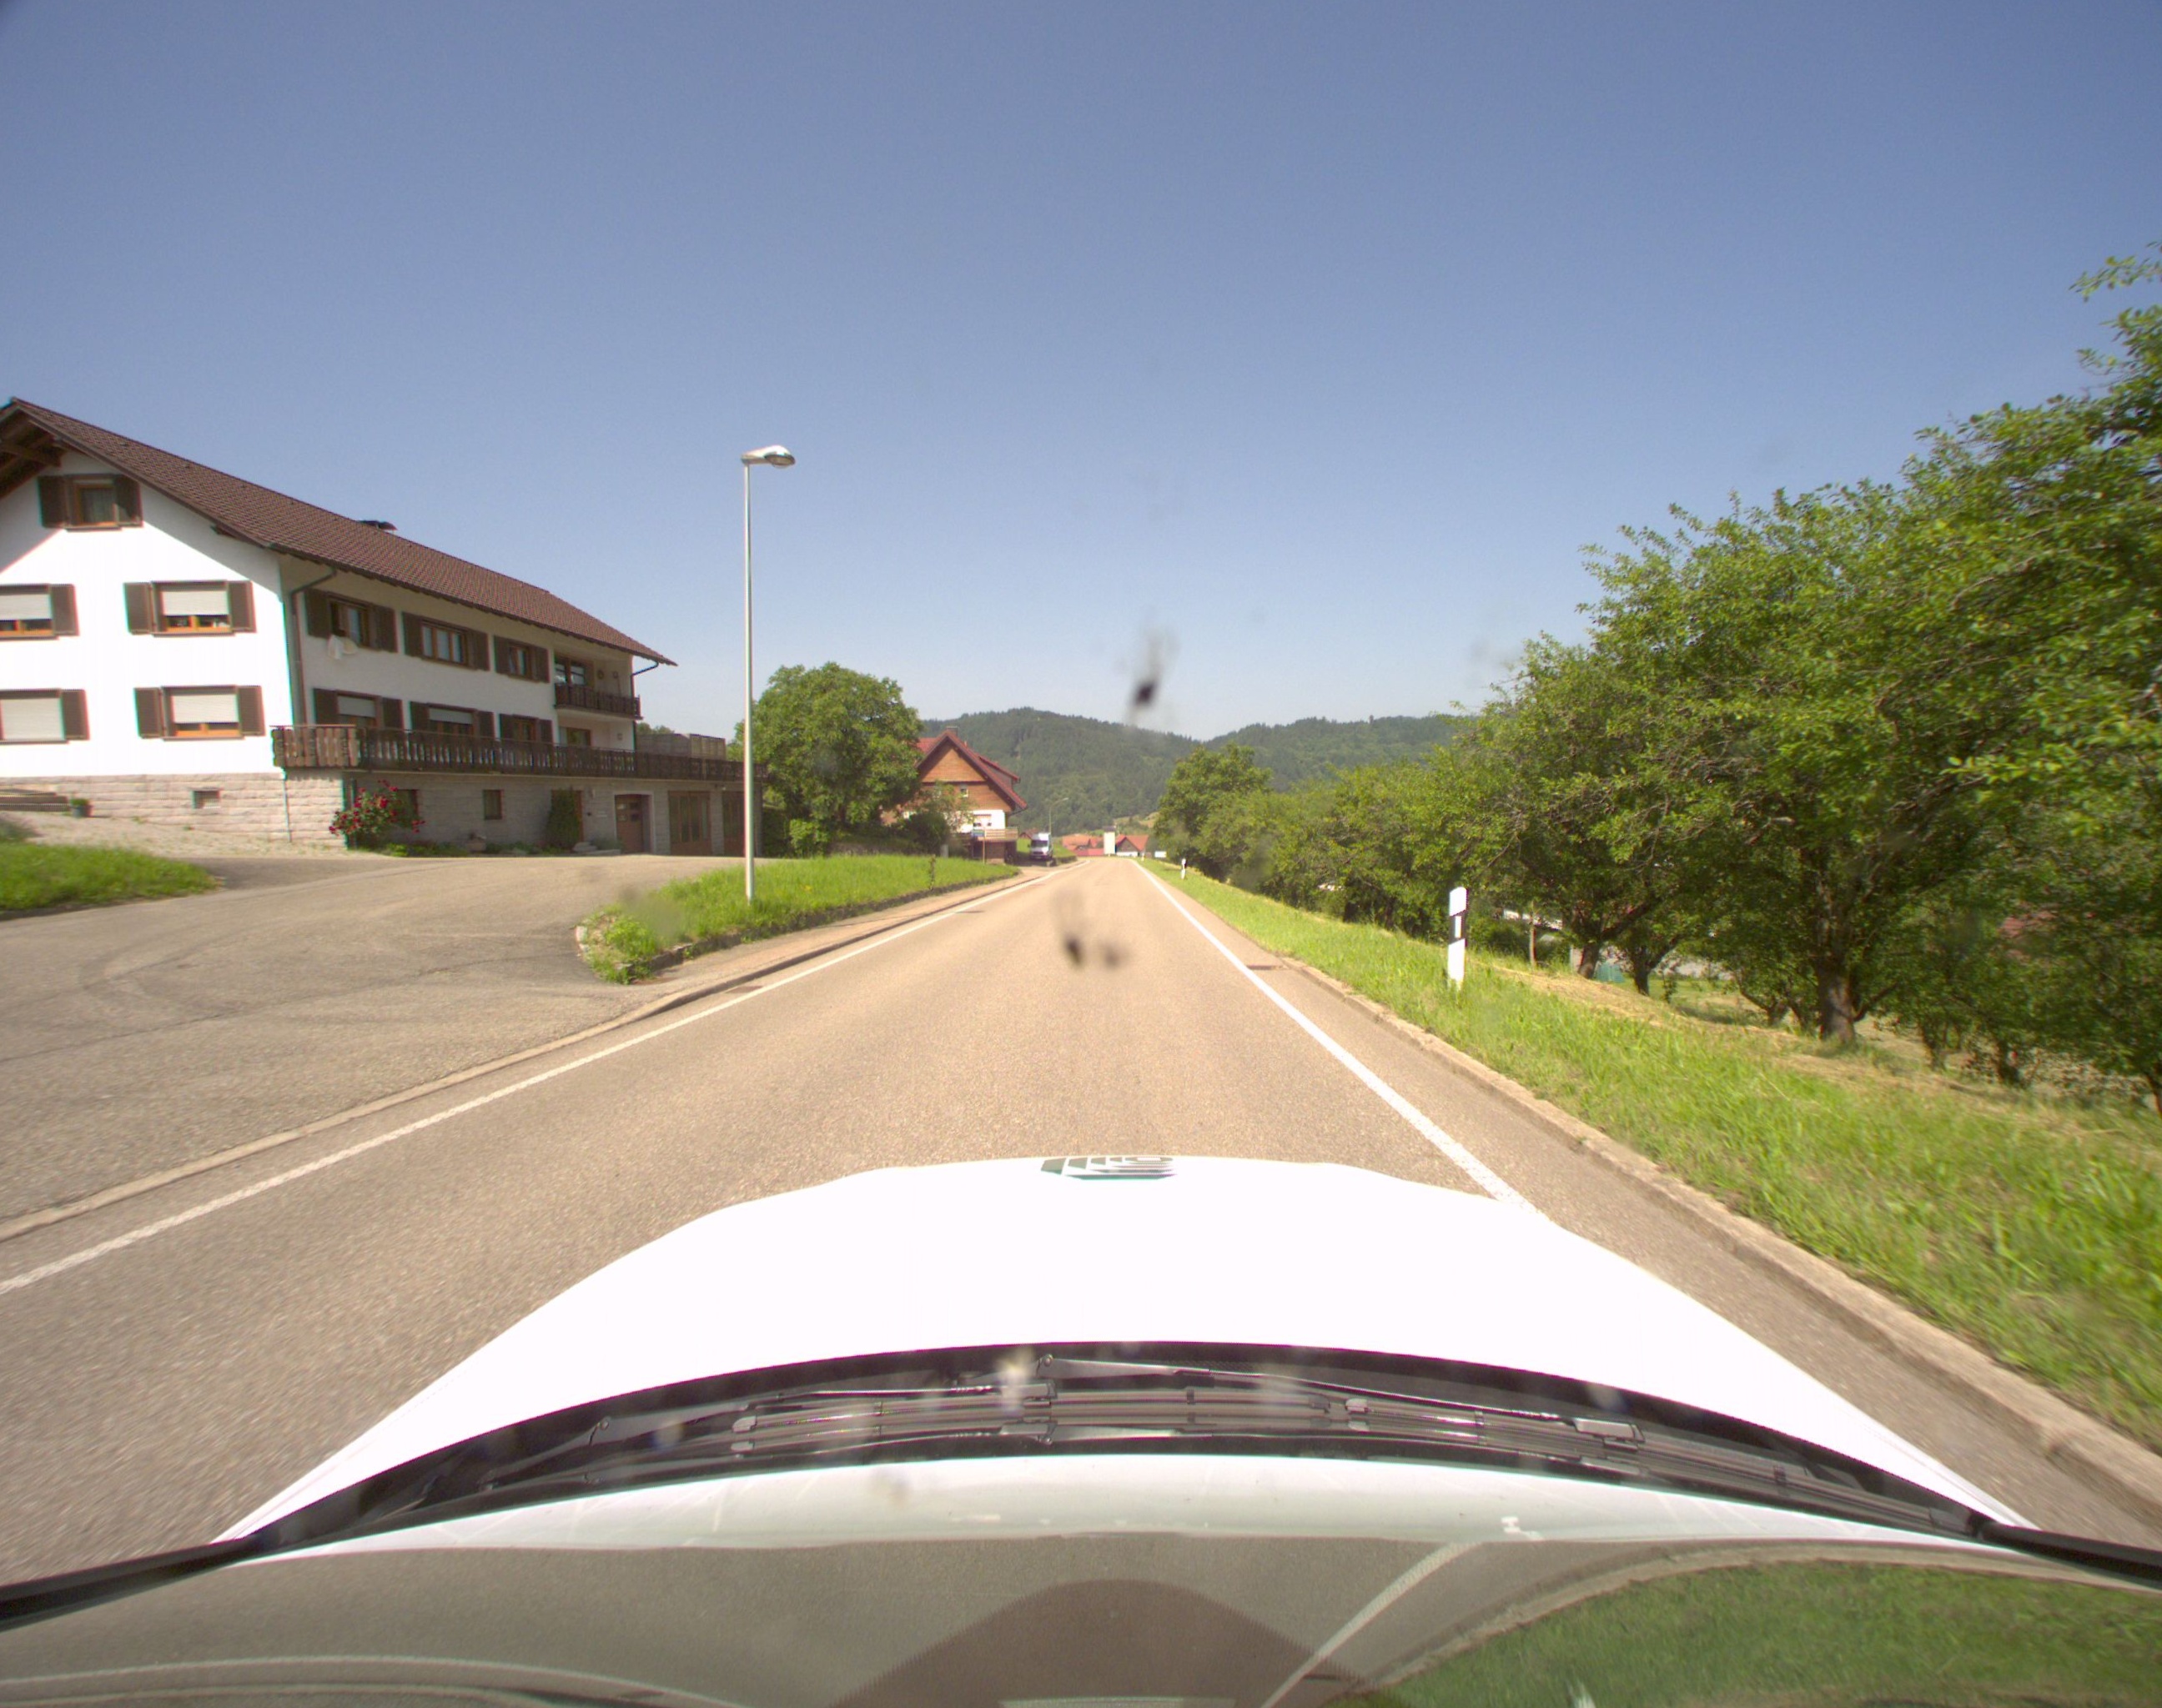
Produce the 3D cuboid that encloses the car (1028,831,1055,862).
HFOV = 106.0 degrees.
[{"bbox_3d":[-3.960,-0.852,82.526,2.059,2.688,7.179,-1,3,2],"label":"car"}]
